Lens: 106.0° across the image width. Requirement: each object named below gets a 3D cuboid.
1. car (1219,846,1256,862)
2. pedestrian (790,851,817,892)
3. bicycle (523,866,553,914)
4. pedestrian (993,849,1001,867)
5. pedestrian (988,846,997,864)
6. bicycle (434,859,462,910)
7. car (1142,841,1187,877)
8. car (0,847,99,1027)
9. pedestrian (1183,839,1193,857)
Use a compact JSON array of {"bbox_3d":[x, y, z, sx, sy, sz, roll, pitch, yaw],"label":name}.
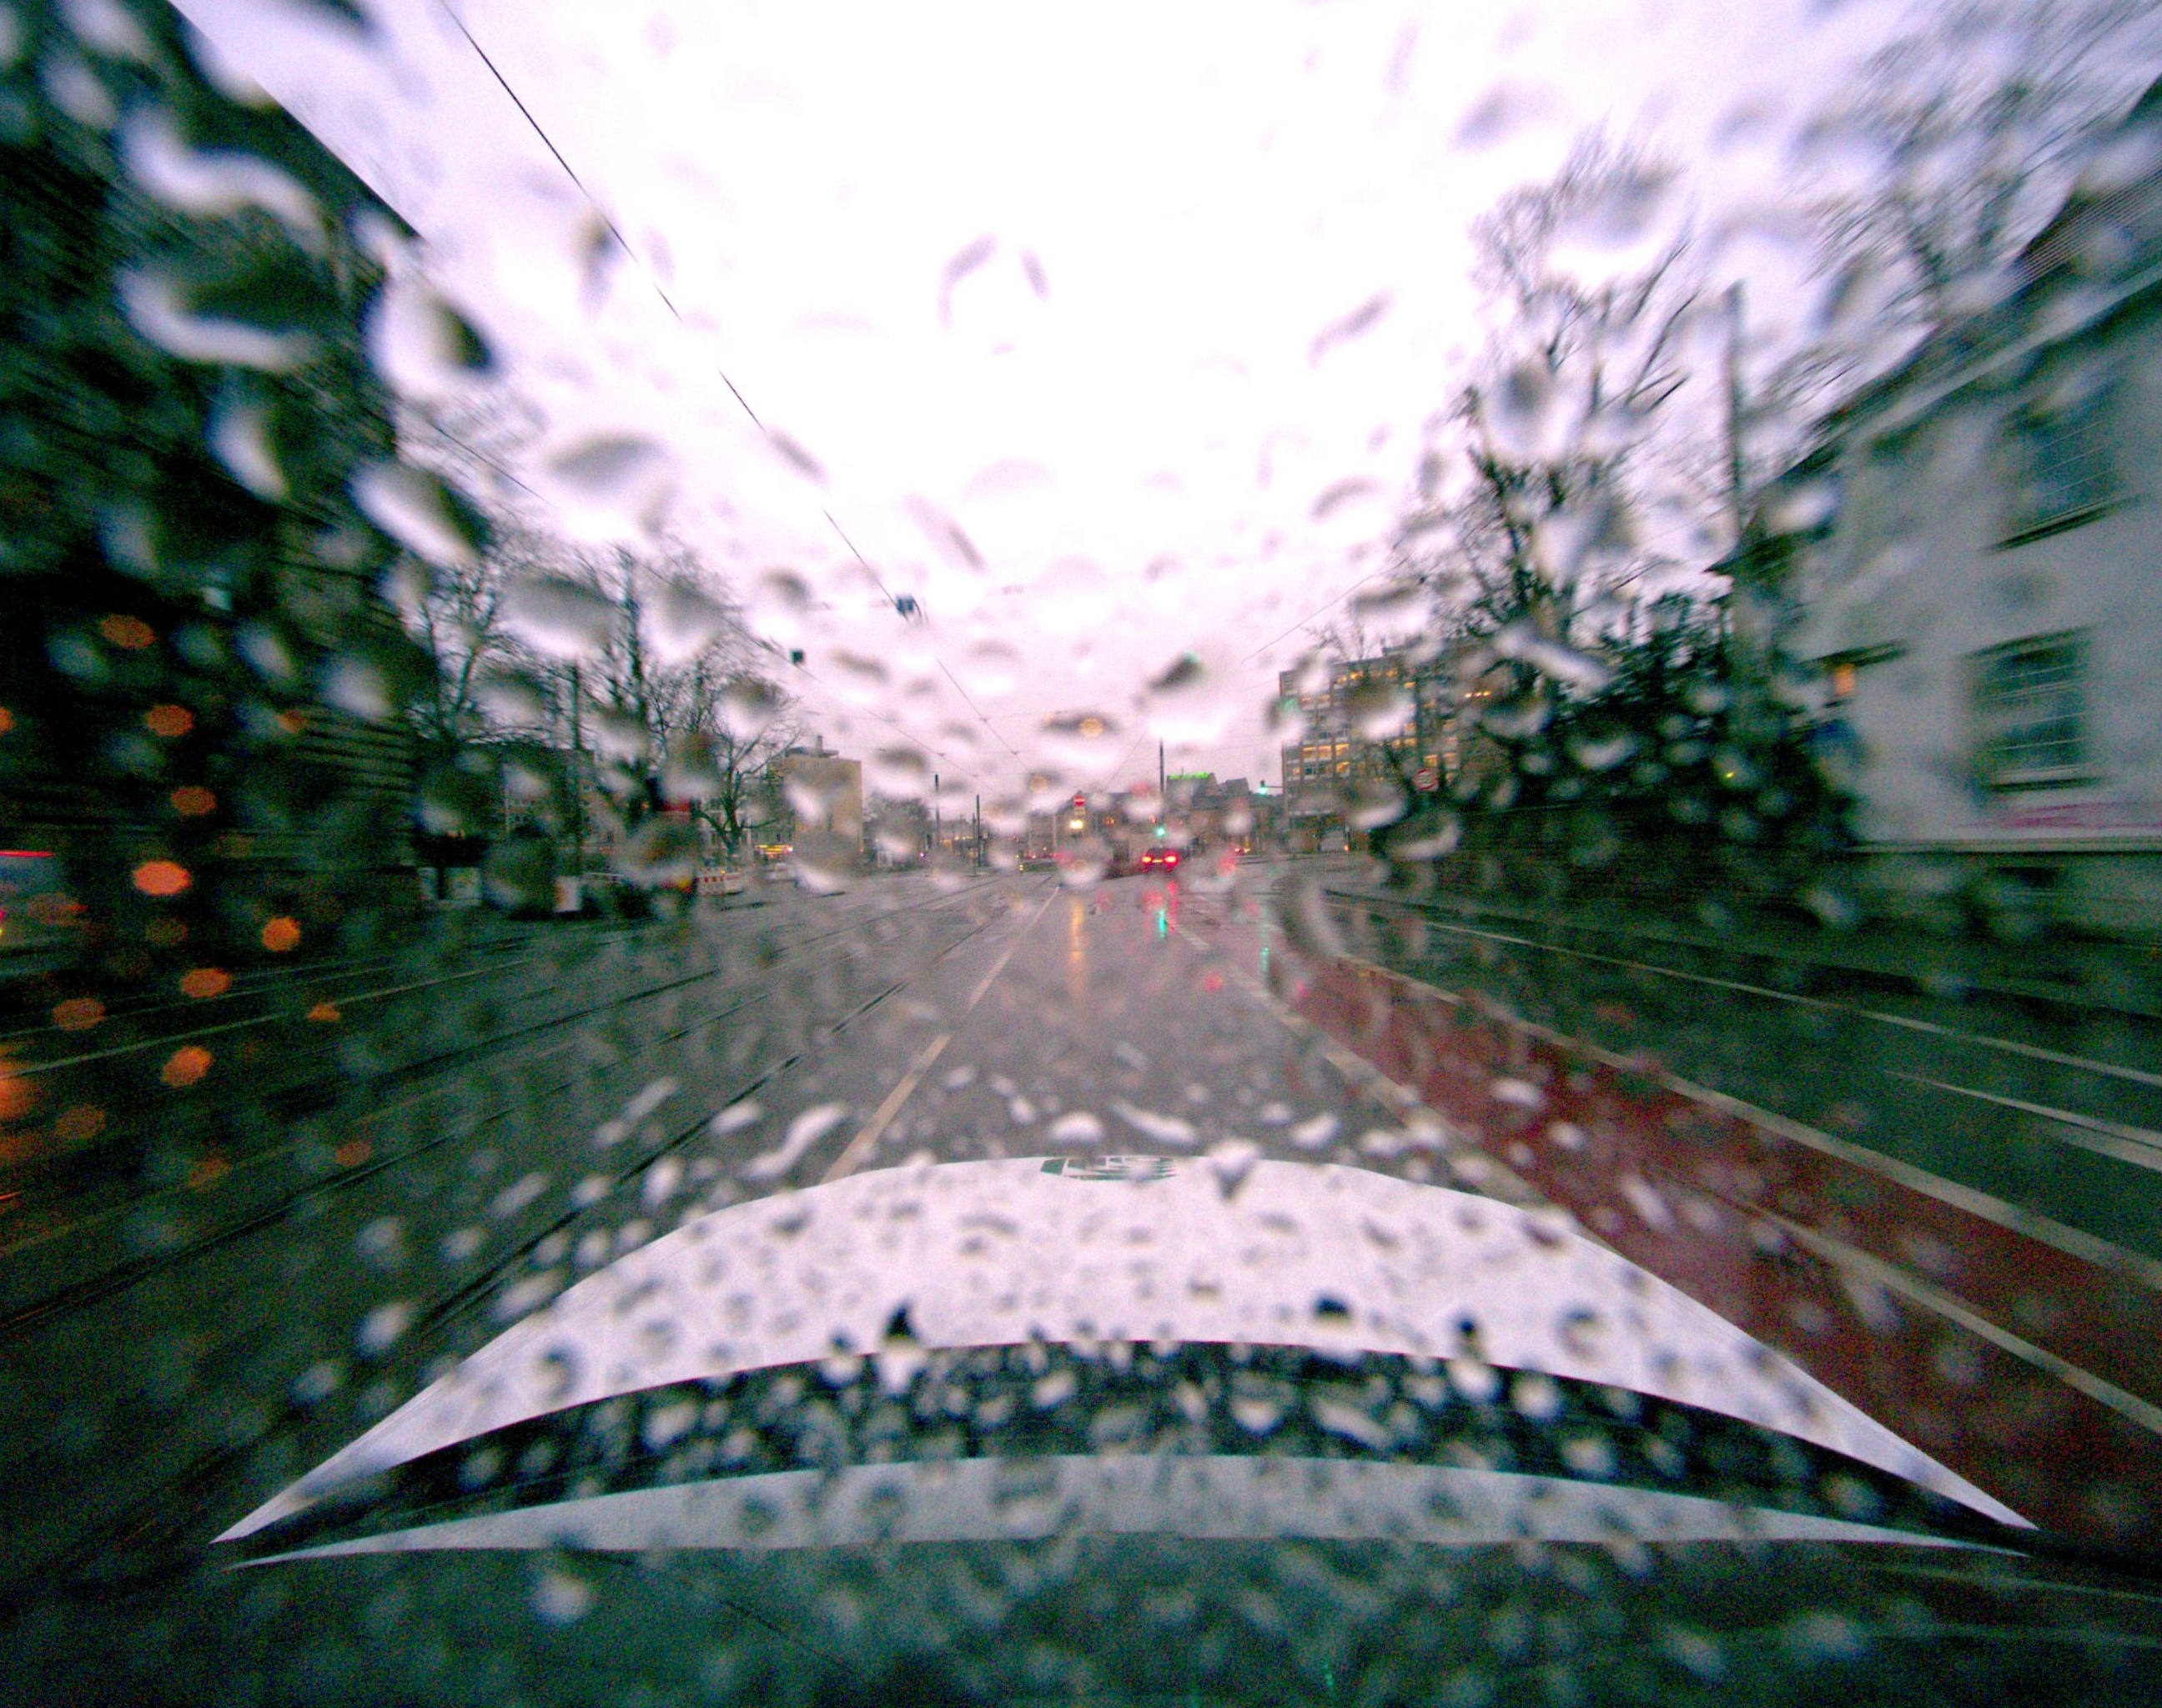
[{"bbox_3d":[22.604,0.019,117.464,2.269,2.281,4.980,1,0,-38],"label":"car"},{"bbox_3d":[-16.262,0.991,47.747,0.984,2.370,1.071,0,0,30],"label":"pedestrian"},{"bbox_3d":[-20.337,1.314,30.469,0.717,1.689,2.401,1,0,-39],"label":"bicycle"},{"bbox_3d":[-8.645,0.424,83.719,0.709,1.806,0.717,0,0,1],"label":"pedestrian"},{"bbox_3d":[-8.849,0.080,81.405,0.709,1.757,0.717,0,0,1],"label":"pedestrian"},{"bbox_3d":[-22.194,1.023,28.555,0.717,1.689,2.401,1,0,-39],"label":"bicycle"},{"bbox_3d":[4.679,0.247,45.000,1.634,1.818,4.020,0,2,18],"label":"car"},{"bbox_3d":[-14.476,0.918,8.646,4.826,2.033,1.891,1,0,-37],"label":"car"},{"bbox_3d":[10.221,-0.561,77.918,0.666,1.674,0.735,0,0,38],"label":"pedestrian"}]
